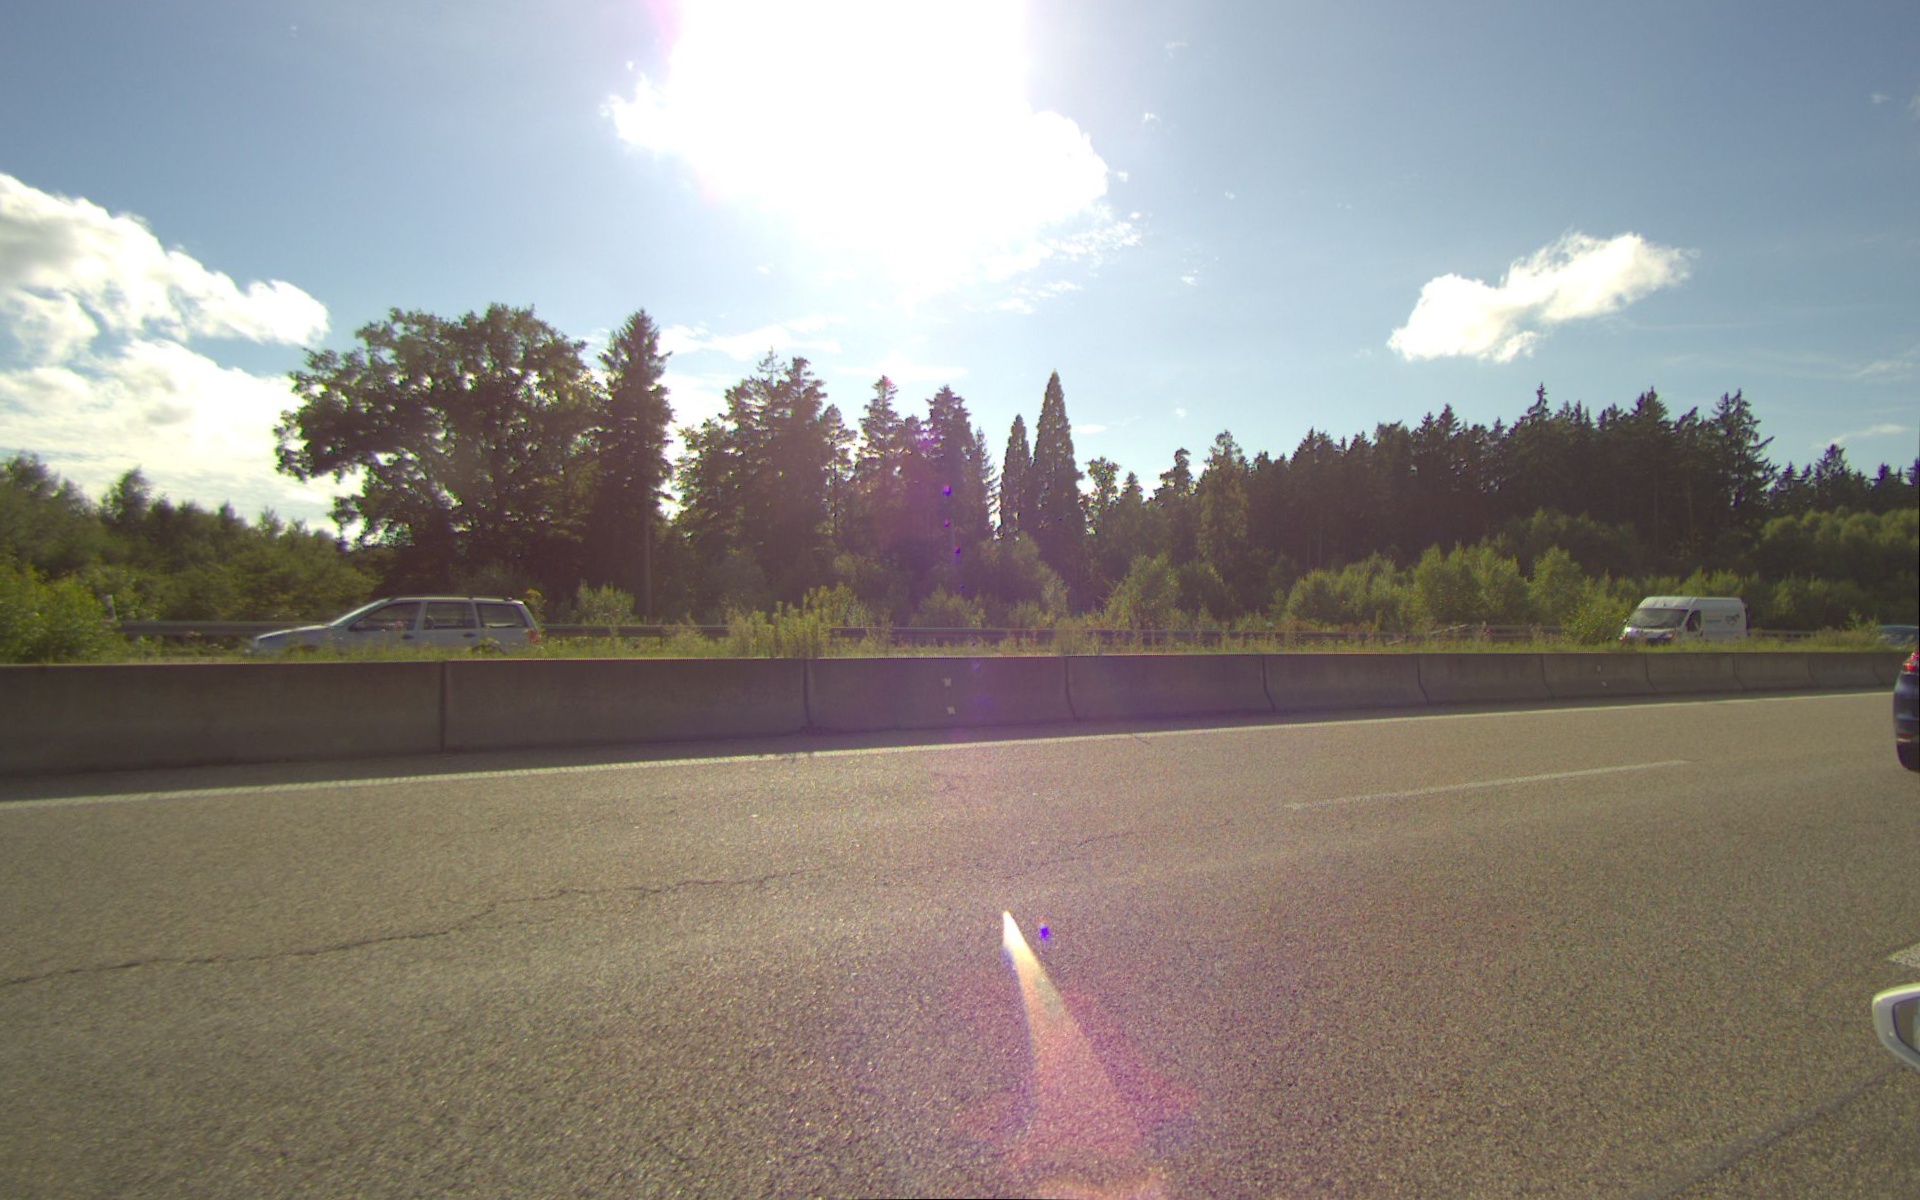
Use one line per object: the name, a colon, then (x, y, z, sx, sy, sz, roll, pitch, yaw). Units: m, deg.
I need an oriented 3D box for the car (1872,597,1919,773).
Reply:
car: (11.692, 0.886, 10.495, 4.477, 1.729, 1.984, 1, 0, -31)

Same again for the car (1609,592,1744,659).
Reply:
car: (26.276, 0.928, 36.804, 5.141, 2.274, 2.055, 1, 0, -30)

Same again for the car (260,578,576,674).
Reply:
car: (-8.934, 0.425, 16.855, 4.412, 1.422, 1.984, 1, 0, -30)
